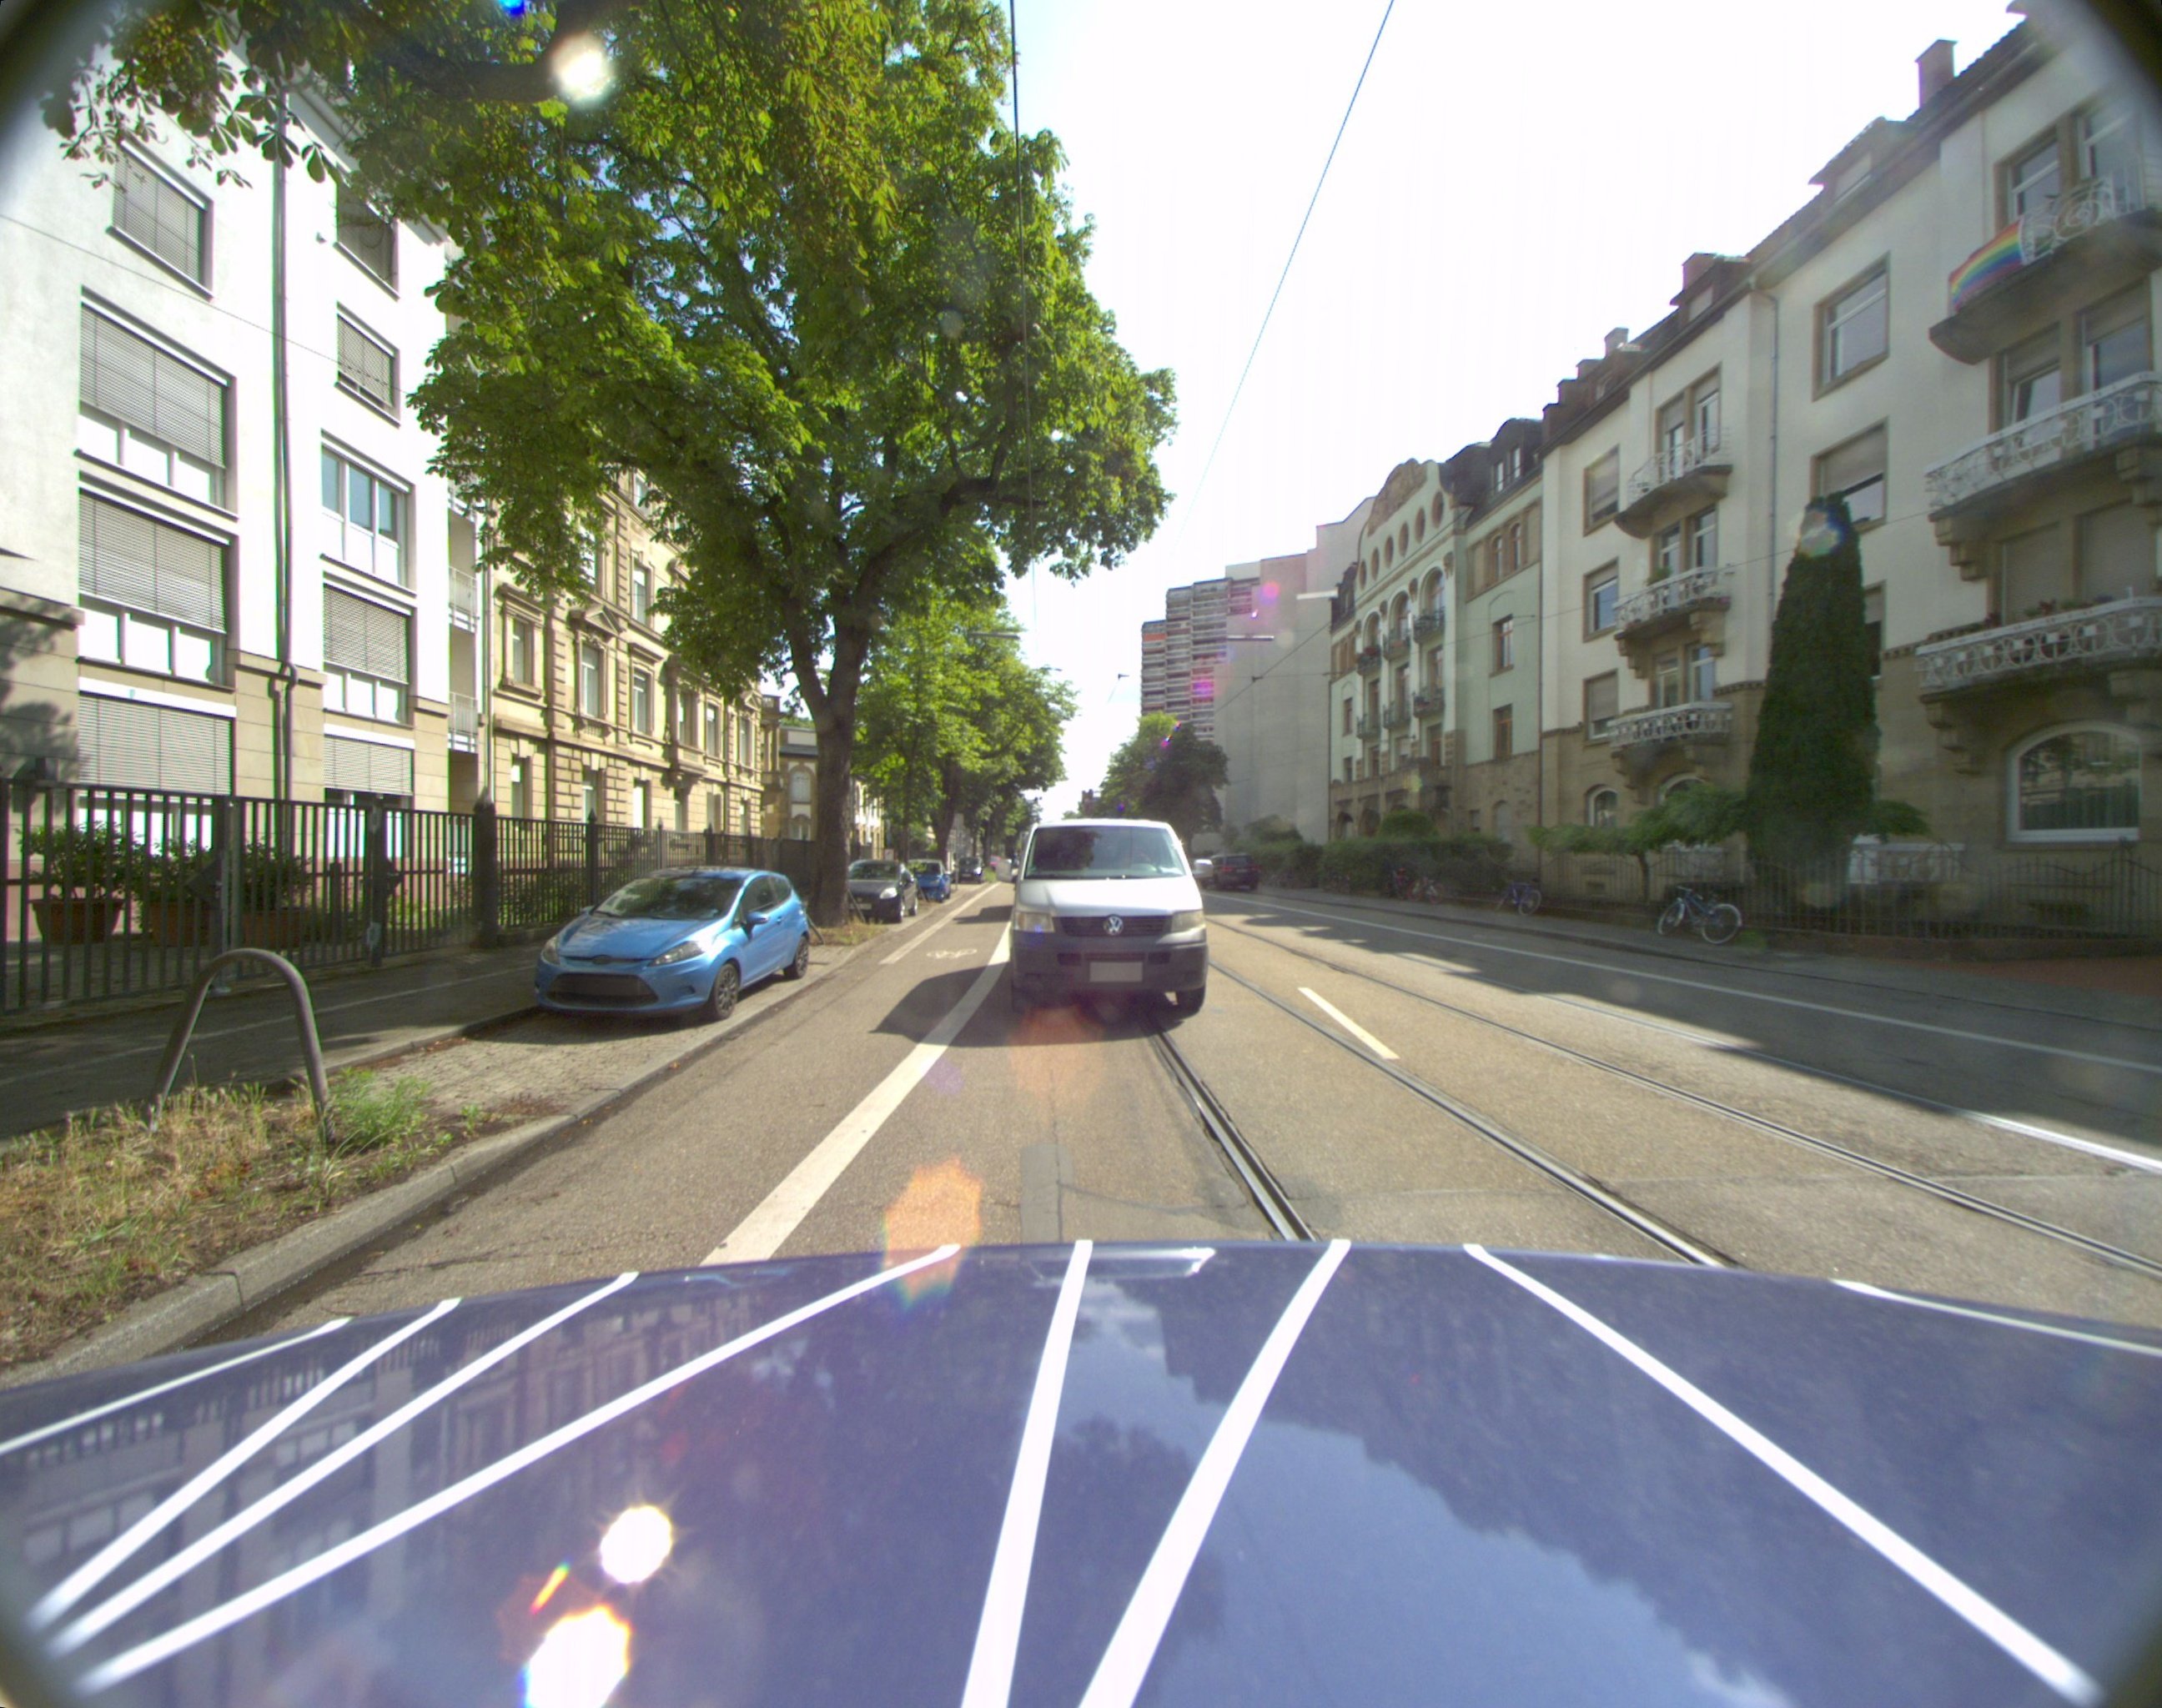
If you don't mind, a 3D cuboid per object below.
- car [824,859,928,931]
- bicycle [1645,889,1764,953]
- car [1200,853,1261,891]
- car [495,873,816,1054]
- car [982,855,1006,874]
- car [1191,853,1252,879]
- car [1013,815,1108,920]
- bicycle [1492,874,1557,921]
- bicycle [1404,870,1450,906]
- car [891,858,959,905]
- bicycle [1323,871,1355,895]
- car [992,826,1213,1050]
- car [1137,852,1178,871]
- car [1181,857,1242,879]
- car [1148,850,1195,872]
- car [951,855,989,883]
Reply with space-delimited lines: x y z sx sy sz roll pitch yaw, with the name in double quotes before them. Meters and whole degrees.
"car" -4.934 0.927 18.747 1.644 1.499 3.622 2 0 -2
"bicycle" 11.057 1.152 13.576 0.524 0.901 2.067 0 2 4
"car" 7.013 0.799 36.056 1.796 1.701 4.330 0 0 -4
"car" -4.341 1.004 8.460 1.642 1.447 3.697 2 0 -4
"car" -7.792 0.890 68.568 1.774 1.563 4.198 2 0 -3
"car" 9.033 0.790 49.115 3.631 1.630 1.610 0 1 -3
"car" -0.744 0.313 21.422 2.169 2.572 5.660 0 0 -7
"bicycle" 10.901 1.040 18.755 0.539 1.024 1.873 0 1 1
"bicycle" 10.566 1.024 23.242 0.587 0.980 1.873 0 1 1
"car" -5.420 0.928 26.860 1.724 1.443 3.925 2 0 -3
"bicycle" 9.953 1.106 29.370 0.587 0.792 1.873 -2 1 1
"car" 0.173 0.701 8.798 1.831 1.856 4.845 -1 0 0
"car" 7.150 0.703 71.520 3.663 1.832 1.735 0 0 -3
"car" 8.917 0.948 52.043 3.890 1.527 1.634 0 0 -1
"car" 8.062 0.635 68.270 3.997 1.914 1.831 0 0 -1
"car" -6.649 0.894 45.731 1.774 1.522 4.198 2 0 -3
